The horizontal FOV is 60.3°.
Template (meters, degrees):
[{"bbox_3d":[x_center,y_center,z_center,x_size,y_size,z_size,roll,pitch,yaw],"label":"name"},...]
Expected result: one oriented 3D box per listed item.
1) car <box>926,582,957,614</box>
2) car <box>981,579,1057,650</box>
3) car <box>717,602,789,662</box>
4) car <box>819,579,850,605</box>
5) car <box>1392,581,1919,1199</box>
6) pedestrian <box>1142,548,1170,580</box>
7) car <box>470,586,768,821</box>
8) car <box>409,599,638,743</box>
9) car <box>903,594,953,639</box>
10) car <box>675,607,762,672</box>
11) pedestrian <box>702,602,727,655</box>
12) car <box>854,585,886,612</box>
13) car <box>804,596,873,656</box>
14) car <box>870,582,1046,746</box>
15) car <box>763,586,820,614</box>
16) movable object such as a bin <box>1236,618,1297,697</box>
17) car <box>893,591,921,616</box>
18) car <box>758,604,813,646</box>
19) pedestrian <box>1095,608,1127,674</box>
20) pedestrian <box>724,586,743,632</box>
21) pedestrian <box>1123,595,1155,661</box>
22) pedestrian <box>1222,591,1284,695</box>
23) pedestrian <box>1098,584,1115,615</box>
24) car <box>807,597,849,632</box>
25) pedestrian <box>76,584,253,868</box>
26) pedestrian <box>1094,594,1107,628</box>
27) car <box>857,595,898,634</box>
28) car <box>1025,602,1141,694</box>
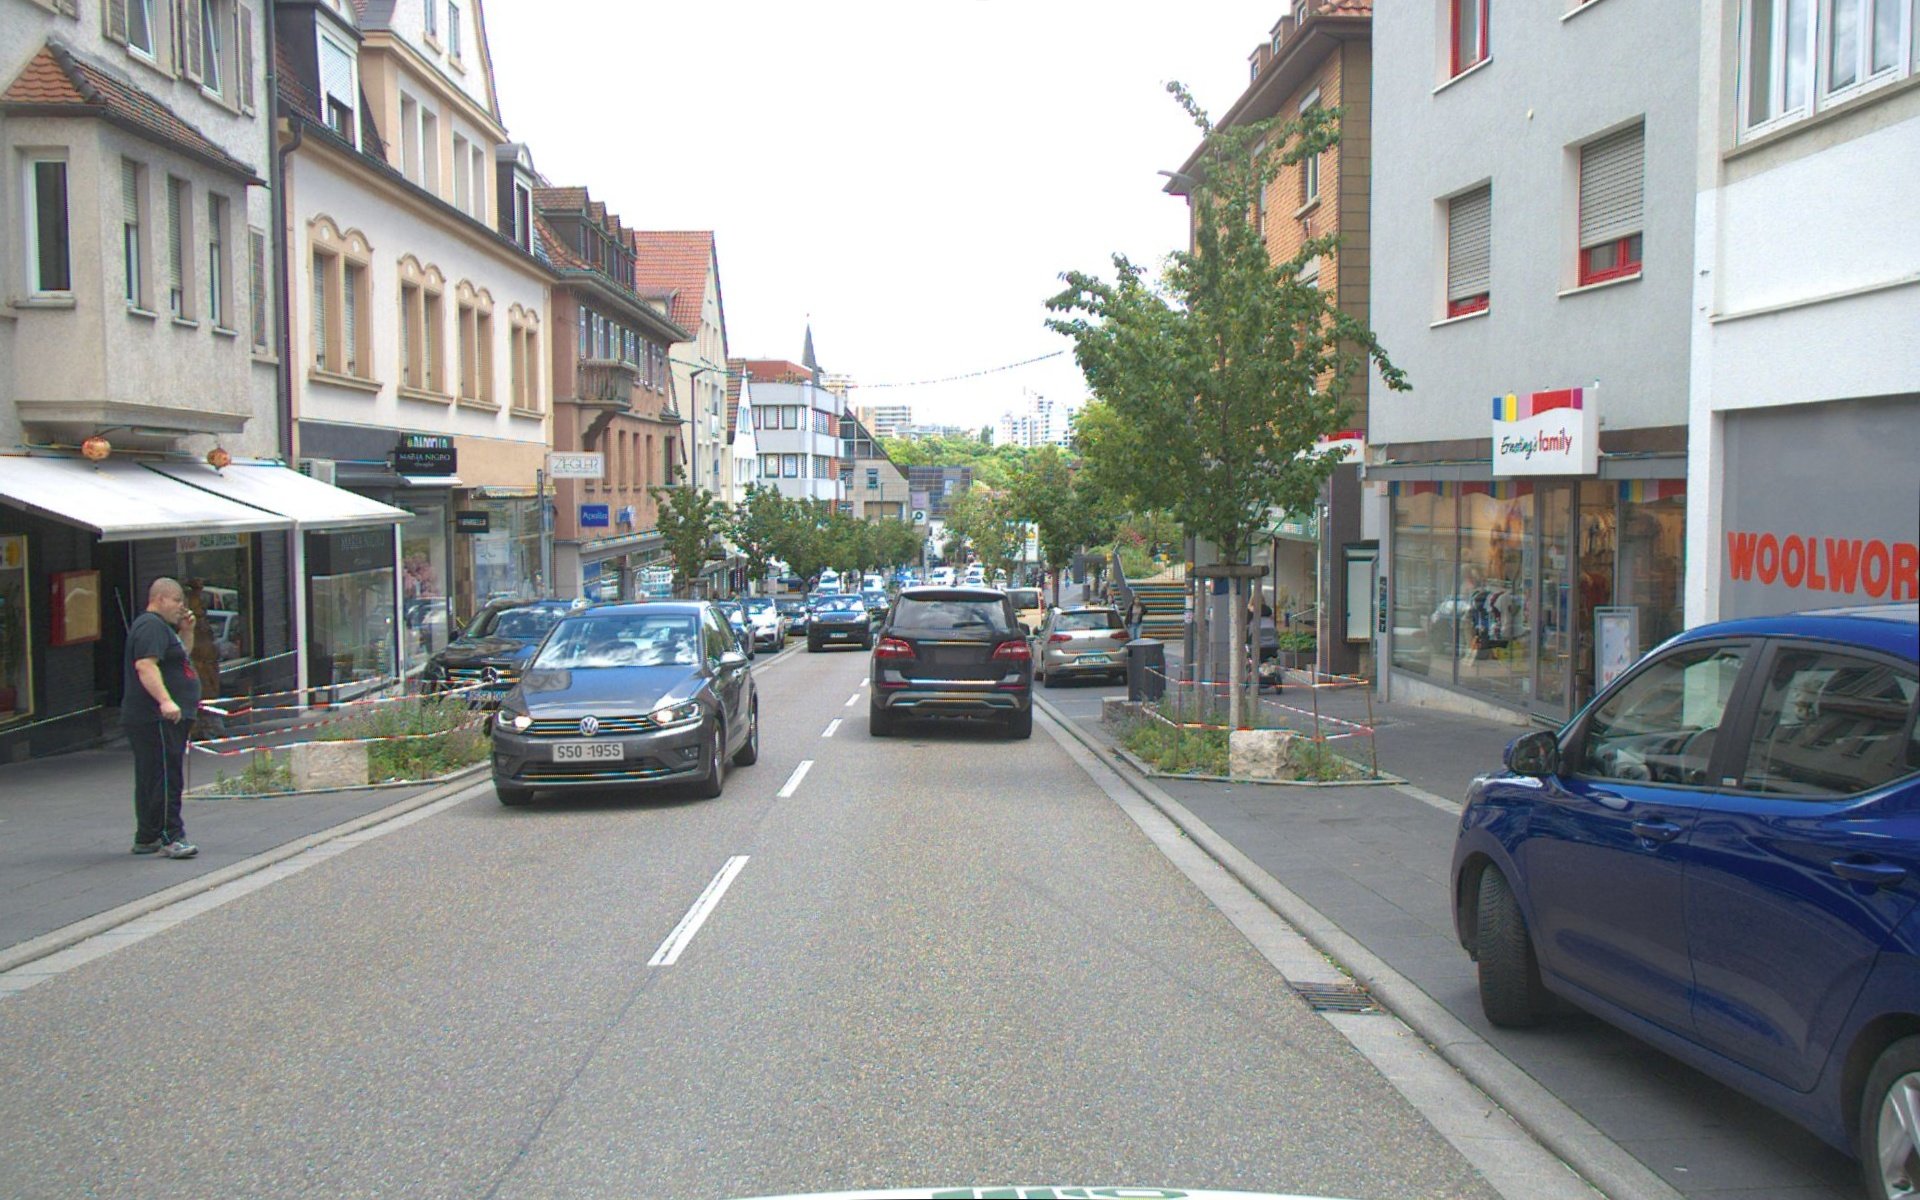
[{"bbox_3d":[-1.453,-0.137,129.719,2.128,2.405,4.624,-1,0,3],"label":"car"},{"bbox_3d":[1.696,0.380,49.161,1.899,1.924,4.705,-2,1,-2],"label":"car"},{"bbox_3d":[-6.249,0.943,50.250,1.889,1.623,4.454,2,1,-4],"label":"car"},{"bbox_3d":[-8.371,-0.561,110.598,1.888,1.657,4.412,2,1,-3],"label":"car"},{"bbox_3d":[2.847,0.718,4.971,1.715,1.524,3.795,-3,-1,-6],"label":"car"},{"bbox_3d":[7.783,-1.433,65.711,0.970,1.252,0.984,0,0,0],"label":"pedestrian"},{"bbox_3d":[-2.744,0.769,14.221,1.782,1.646,4.134,-2,0,-2],"label":"car"},{"bbox_3d":[-5.530,0.839,21.564,1.888,1.649,4.637,1,0,-2],"label":"car"},{"bbox_3d":[-1.274,0.625,65.886,1.887,1.657,4.261,2,1,-1],"label":"car"},{"bbox_3d":[-6.206,0.981,42.956,1.888,1.523,4.259,-1,1,-4],"label":"car"},{"bbox_3d":[-7.960,0.912,53.630,0.712,1.697,0.720,0,0,-2],"label":"pedestrian"},{"bbox_3d":[-5.849,-0.107,107.688,1.887,1.657,4.261,2,1,-1],"label":"car"},{"bbox_3d":[-3.756,0.780,51.637,1.952,1.748,4.445,-2,0,-2],"label":"car"},{"bbox_3d":[-0.047,0.688,20.277,1.904,1.770,4.178,1,0,-1],"label":"car"},{"bbox_3d":[-11.977,0.022,117.856,3.910,1.780,1.998,-3,0,-5],"label":"car"},{"bbox_3d":[4.787,0.885,25.899,0.707,1.178,0.906,-3,0,-2],"label":"movable object such as a bin"},{"bbox_3d":[-3.441,0.243,107.031,1.776,1.534,3.998,-1,0,-2],"label":"car"},{"bbox_3d":[-6.974,0.989,66.560,1.888,1.523,4.260,2,1,-2],"label":"car"},{"bbox_3d":[3.900,1.050,42.672,0.658,1.661,0.669,-2,0,-4],"label":"pedestrian"},{"bbox_3d":[-8.513,0.344,62.169,0.628,1.697,0.720,0,0,-2],"label":"pedestrian"},{"bbox_3d":[4.619,0.719,42.766,0.658,1.661,0.669,-2,0,-4],"label":"pedestrian"},{"bbox_3d":[4.739,0.677,26.803,0.720,1.612,1.000,-3,0,-2],"label":"pedestrian"},{"bbox_3d":[9.345,-0.044,105.484,1.027,1.946,0.937,-3,0,6],"label":"pedestrian"},{"bbox_3d":[-6.628,0.723,83.372,1.887,1.657,4.261,0,1,-1],"label":"car"},{"bbox_3d":[-4.970,0.752,10.381,0.723,1.701,0.862,0,0,-4],"label":"pedestrian"},{"bbox_3d":[6.572,0.515,77.569,0.556,1.614,0.666,-1,0,7],"label":"pedestrian"},{"bbox_3d":[-3.670,0.635,73.983,1.729,1.645,4.031,-1,0,-2],"label":"car"},{"bbox_3d":[2.300,0.864,31.842,1.713,1.491,4.073,-4,1,-2],"label":"car"}]
